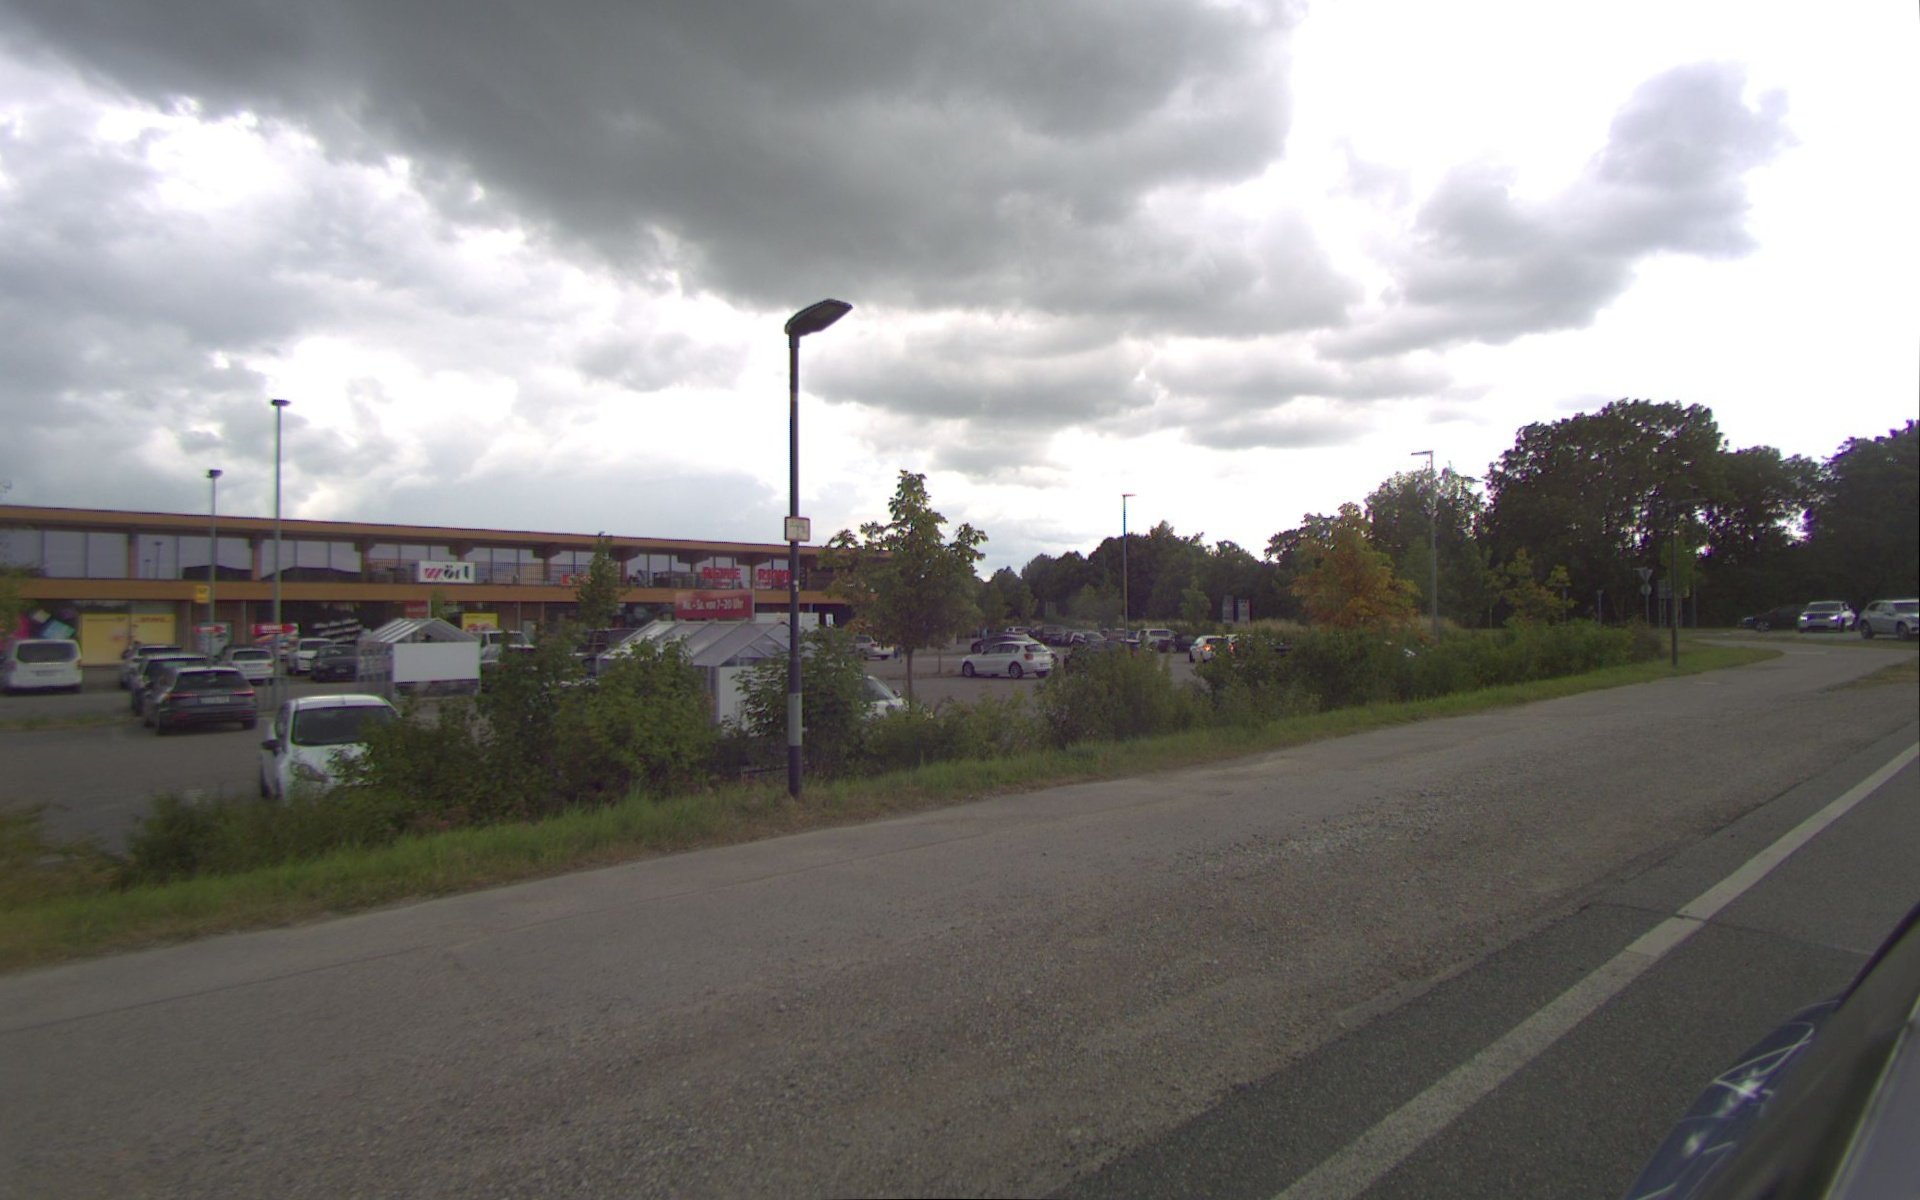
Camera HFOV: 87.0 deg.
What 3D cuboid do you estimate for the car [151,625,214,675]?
[{"bbox_3d":[-31.907,2.008,41.623,1.908,1.772,4.000,0,0,-36],"label":"car"}]

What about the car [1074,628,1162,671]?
[{"bbox_3d":[6.851,2.155,43.996,1.771,1.728,3.385,0,-3,-41],"label":"car"}]

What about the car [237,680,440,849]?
[{"bbox_3d":[-8.533,2.056,13.739,1.647,1.557,4.152,0,0,-42],"label":"car"}]

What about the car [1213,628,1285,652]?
[{"bbox_3d":[17.813,2.472,62.462,3.916,1.377,1.705,0,0,-13],"label":"car"}]

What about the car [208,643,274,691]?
[{"bbox_3d":[-27.401,2.498,38.539,1.761,1.496,3.745,0,0,-40],"label":"car"}]

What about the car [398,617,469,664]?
[{"bbox_3d":[-26.074,1.955,50.017,1.965,2.039,5.137,0,0,-41],"label":"car"}]

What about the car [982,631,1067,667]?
[{"bbox_3d":[3.067,2.329,49.062,1.962,1.504,4.131,0,0,-36],"label":"car"}]

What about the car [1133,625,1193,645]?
[{"bbox_3d":[14.978,2.552,74.742,3.916,1.377,1.705,0,0,-13],"label":"car"}]

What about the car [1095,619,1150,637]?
[{"bbox_3d":[12.896,2.213,80.312,3.916,1.377,1.705,0,0,-13],"label":"car"}]

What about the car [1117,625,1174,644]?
[{"bbox_3d":[14.279,2.625,77.877,3.916,1.377,1.705,0,0,-13],"label":"car"}]

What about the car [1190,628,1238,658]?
[{"bbox_3d":[13.485,2.262,53.941,1.811,1.377,3.995,1,0,4],"label":"car"}]

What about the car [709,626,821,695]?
[{"bbox_3d":[-6.386,1.873,32.768,1.962,1.894,4.274,0,0,-35],"label":"car"}]

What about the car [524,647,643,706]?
[{"bbox_3d":[-10.898,2.140,29.125,1.965,1.460,3.993,0,-1,-41],"label":"car"}]

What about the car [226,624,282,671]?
[{"bbox_3d":[-30.576,2.019,43.825,1.908,1.772,4.000,0,0,-36],"label":"car"}]

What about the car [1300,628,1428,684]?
[{"bbox_3d":[14.558,1.970,36.629,1.629,1.727,3.993,0,0,-41],"label":"car"}]

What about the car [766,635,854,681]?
[{"bbox_3d":[-6.257,2.351,41.986,1.962,1.571,4.131,0,0,-36],"label":"car"}]

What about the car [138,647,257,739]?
[{"bbox_3d":[-17.185,1.988,22.739,1.964,1.638,3.995,0,0,-40],"label":"car"}]

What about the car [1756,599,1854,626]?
[{"bbox_3d":[47.739,0.697,57.297,3.964,1.438,1.699,1,0,29],"label":"car"}]

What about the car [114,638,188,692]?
[{"bbox_3d":[-29.405,2.311,36.744,2.003,1.628,3.745,0,0,-40],"label":"car"}]

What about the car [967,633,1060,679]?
[{"bbox_3d":[2.102,2.197,40.403,1.723,1.552,3.554,0,0,-41],"label":"car"}]

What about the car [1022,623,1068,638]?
[{"bbox_3d":[7.924,2.822,94.149,3.916,1.377,1.705,0,0,-13],"label":"car"}]

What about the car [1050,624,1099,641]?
[{"bbox_3d":[9.970,2.841,88.269,3.916,1.377,1.705,0,0,-13],"label":"car"}]

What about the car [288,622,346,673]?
[{"bbox_3d":[-28.913,2.075,45.460,1.962,2.039,4.000,0,0,-36],"label":"car"}]

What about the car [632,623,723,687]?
[{"bbox_3d":[-10.351,1.944,36.931,1.962,2.039,4.000,0,0,-36],"label":"car"}]

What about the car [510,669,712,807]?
[{"bbox_3d":[-5.493,2.007,15.680,1.647,1.557,3.761,0,0,-42],"label":"car"}]

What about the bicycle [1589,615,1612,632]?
[{"bbox_3d":[38.857,1.420,61.413,0.557,0.974,1.301,1,0,0],"label":"bicycle"}]

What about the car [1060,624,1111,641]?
[{"bbox_3d":[10.690,2.740,86.108,3.916,1.377,1.705,0,0,-13],"label":"car"}]

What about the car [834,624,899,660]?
[{"bbox_3d":[-5.498,2.378,58.865,2.032,1.871,4.000,0,0,-36],"label":"car"}]

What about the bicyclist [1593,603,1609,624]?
[{"bbox_3d":[38.847,0.800,61.343,0.545,1.259,0.659,1,0,0],"label":"bicyclist"}]

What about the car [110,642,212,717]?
[{"bbox_3d":[-21.613,2.088,27.510,1.962,1.638,4.000,0,0,-36],"label":"car"}]

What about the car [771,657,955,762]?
[{"bbox_3d":[-1.954,2.008,19.542,1.647,1.557,3.761,0,0,-42],"label":"car"}]

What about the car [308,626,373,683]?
[{"bbox_3d":[-25.179,2.159,41.058,1.962,2.039,4.000,0,0,-36],"label":"car"}]

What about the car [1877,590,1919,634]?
[{"bbox_3d":[39.077,0.470,40.706,1.977,1.705,3.970,1,0,22],"label":"car"}]

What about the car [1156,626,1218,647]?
[{"bbox_3d":[16.042,2.568,71.539,3.916,1.377,1.705,0,0,-13],"label":"car"}]

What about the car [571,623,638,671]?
[{"bbox_3d":[-17.082,2.206,48.521,1.962,2.039,4.000,0,0,-36],"label":"car"}]

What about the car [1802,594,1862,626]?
[{"bbox_3d":[44.140,0.472,51.309,1.988,1.538,3.721,1,0,36],"label":"car"}]

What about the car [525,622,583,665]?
[{"bbox_3d":[-21.663,2.253,53.873,1.962,2.039,4.123,0,0,-36],"label":"car"}]

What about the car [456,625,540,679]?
[{"bbox_3d":[-20.360,2.209,44.482,1.965,2.039,5.137,0,0,-41],"label":"car"}]

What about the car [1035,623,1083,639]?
[{"bbox_3d":[8.972,2.799,91.706,3.916,1.377,1.705,0,0,-13],"label":"car"}]

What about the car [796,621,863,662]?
[{"bbox_3d":[-7.305,2.256,56.248,2.032,2.039,4.000,0,0,-36],"label":"car"}]

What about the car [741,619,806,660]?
[{"bbox_3d":[-10.165,2.099,54.896,1.962,2.039,4.000,0,0,-36],"label":"car"}]

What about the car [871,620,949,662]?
[{"bbox_3d":[-2.605,2.009,51.356,1.962,1.894,4.274,0,0,-35],"label":"car"}]

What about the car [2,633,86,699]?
[{"bbox_3d":[-31.245,2.185,34.586,2.004,1.935,3.898,0,0,-42],"label":"car"}]
